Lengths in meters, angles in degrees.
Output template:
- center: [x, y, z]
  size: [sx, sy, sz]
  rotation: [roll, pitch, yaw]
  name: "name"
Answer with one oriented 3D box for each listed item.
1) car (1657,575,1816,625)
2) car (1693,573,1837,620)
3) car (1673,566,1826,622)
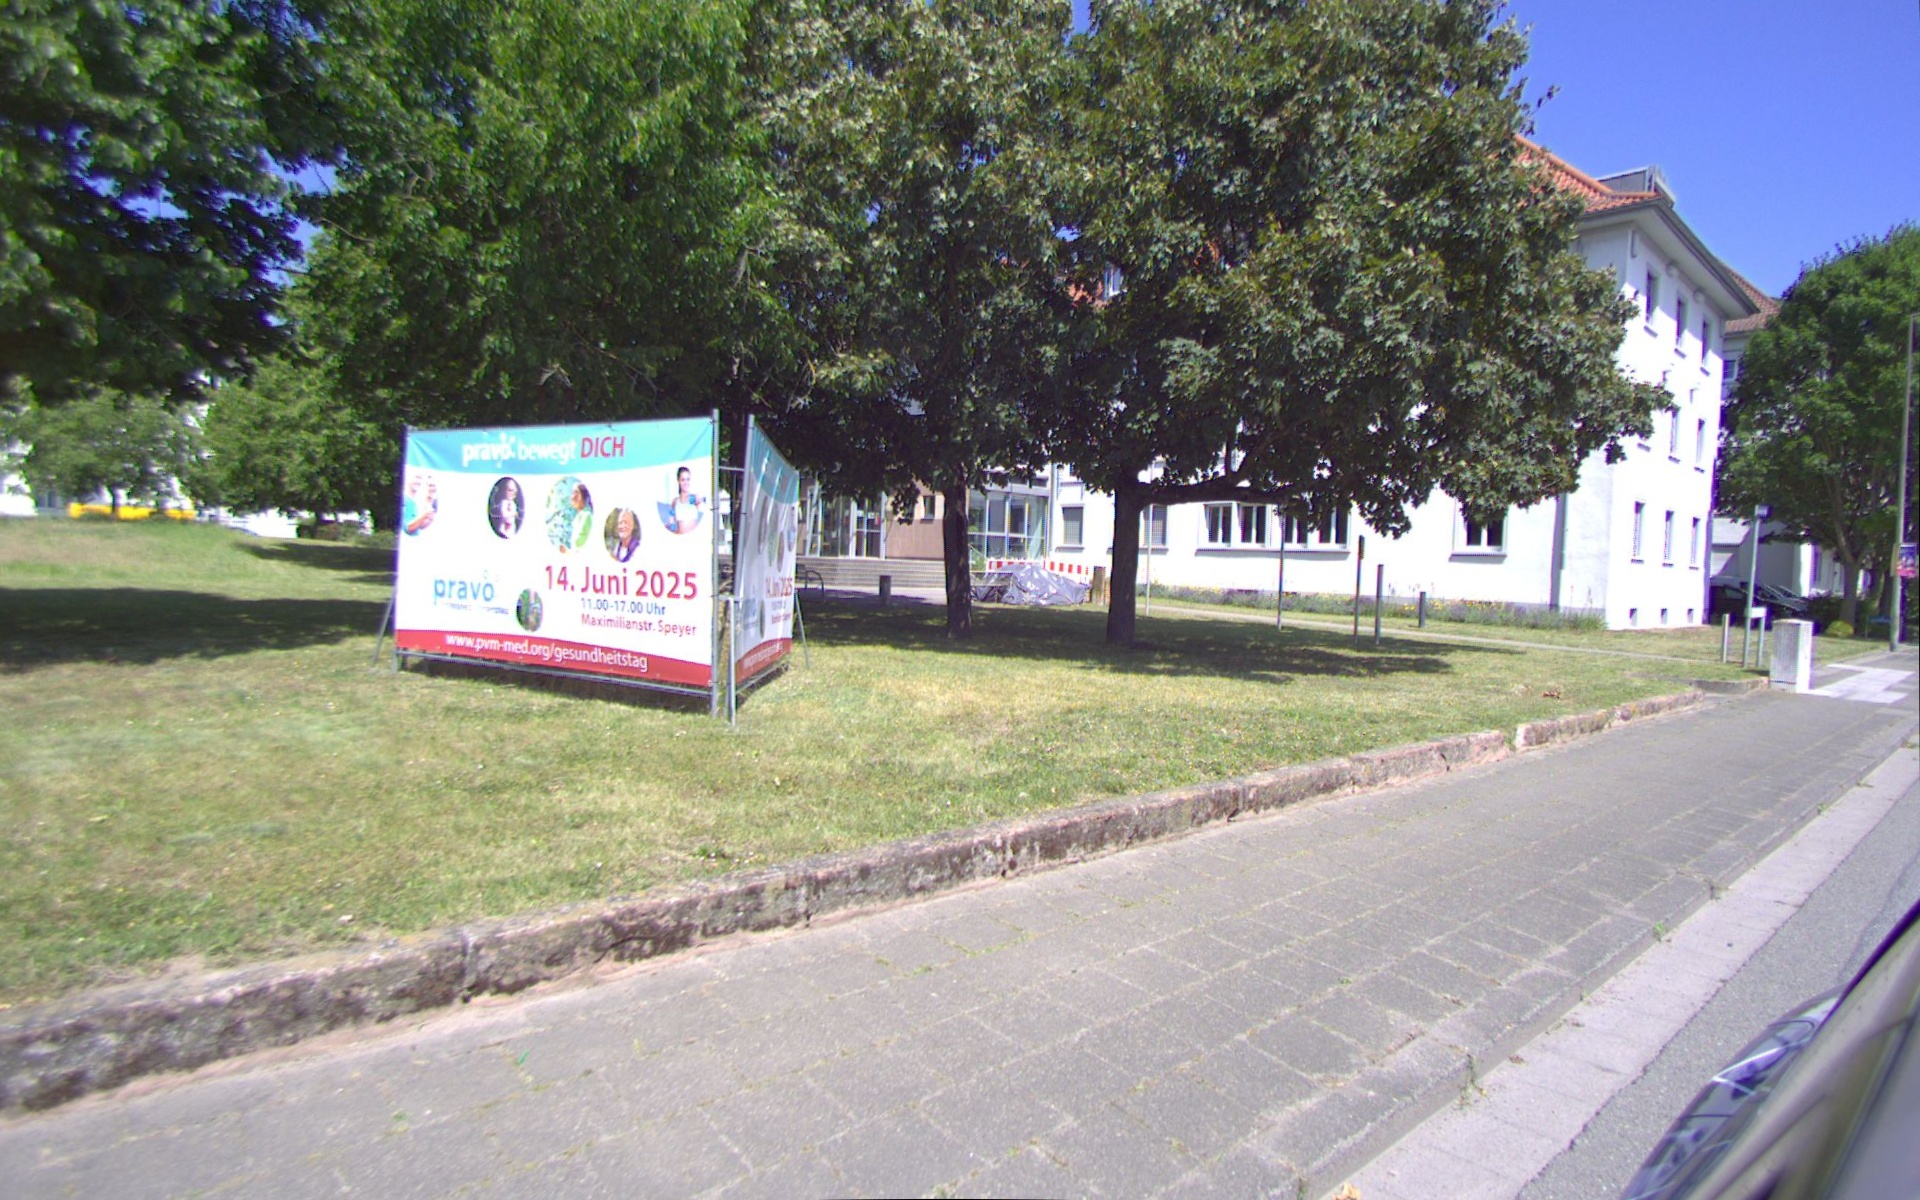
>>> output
- center: [28.759, -0.054, 37.569]
  size: [1.967, 1.452, 4.361]
  rotation: [0, 5, -44]
  name: "car"
- center: [33.127, -0.178, 41.742]
  size: [1.967, 1.544, 4.361]
  rotation: [0, 5, -44]
  name: "car"
- center: [30.705, -0.281, 39.447]
  size: [1.967, 1.808, 4.361]
  rotation: [0, 5, -44]
  name: "car"
